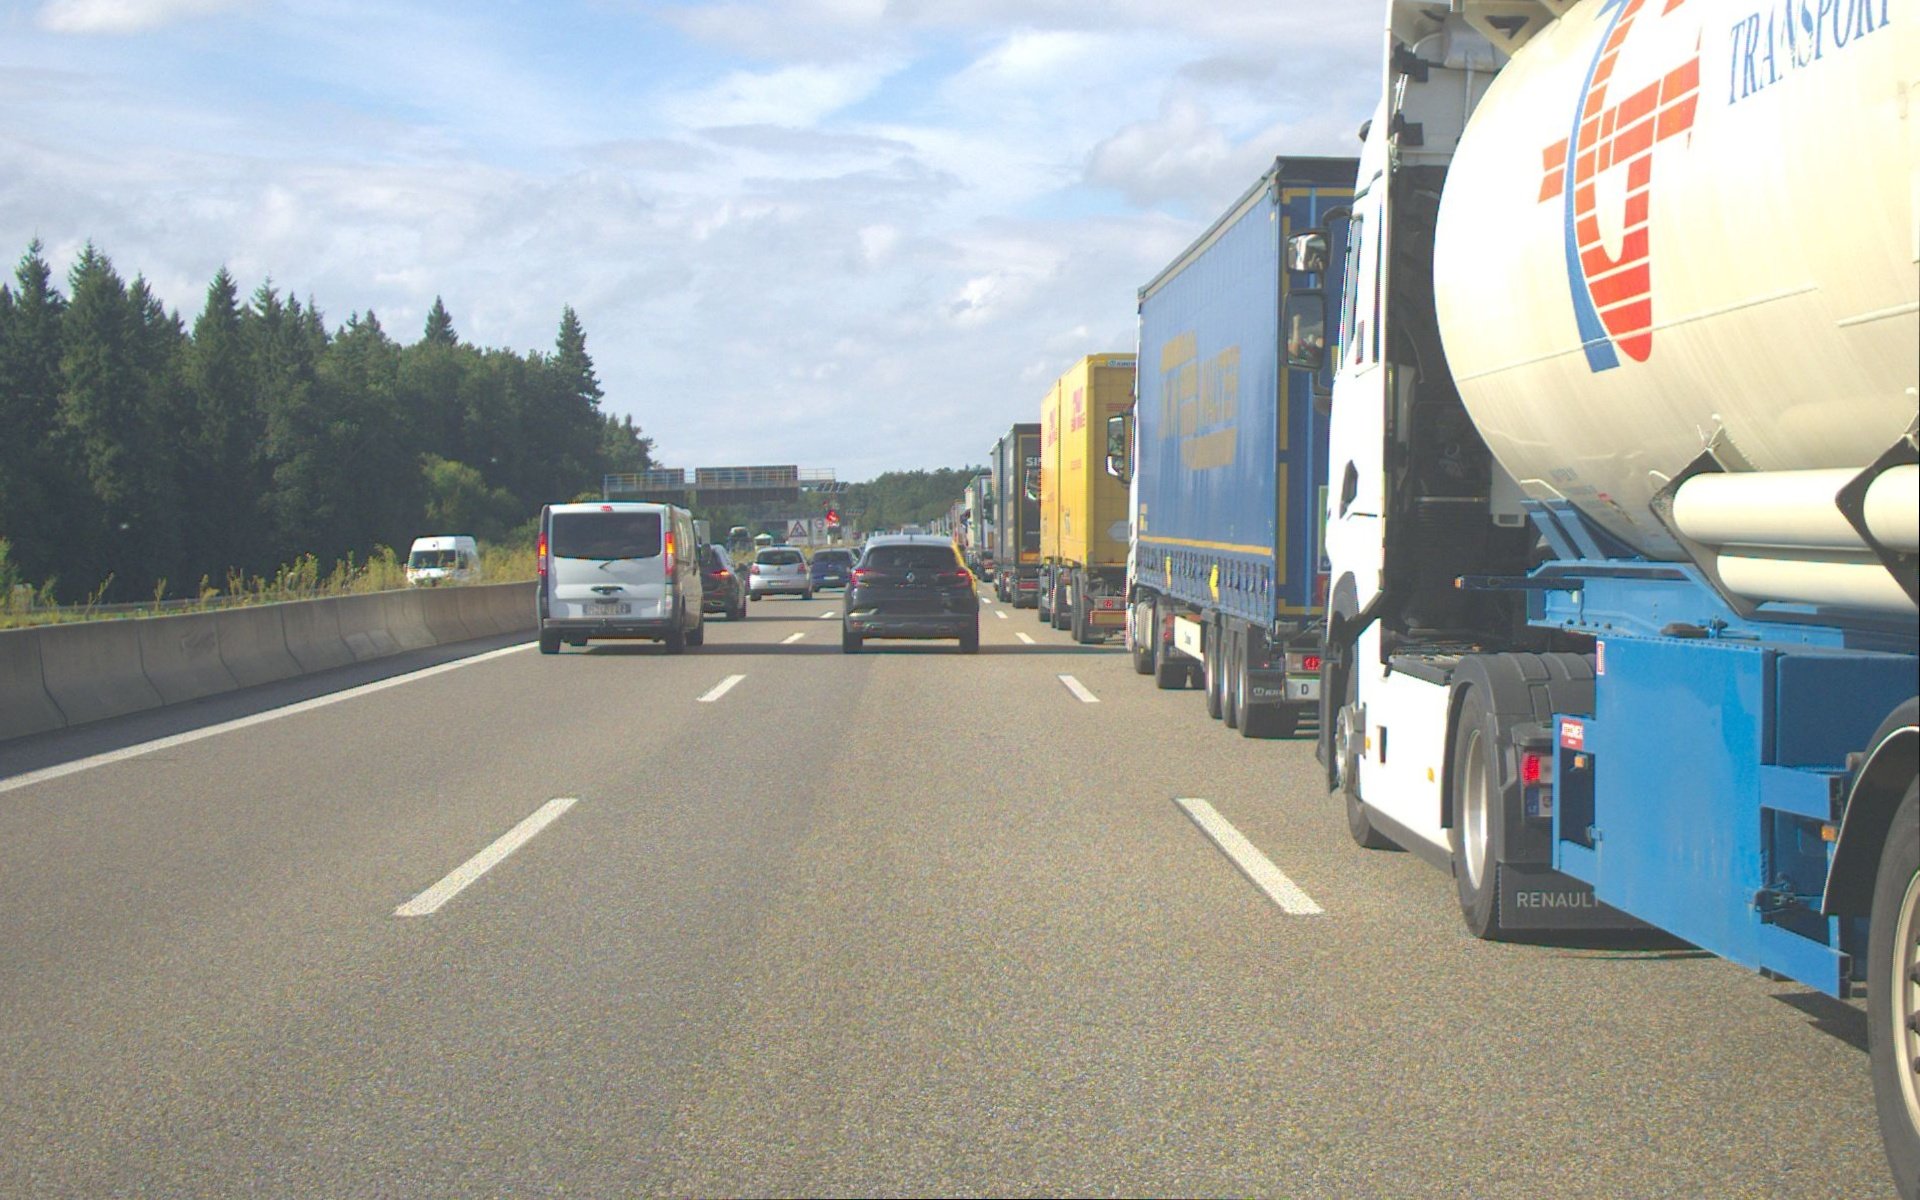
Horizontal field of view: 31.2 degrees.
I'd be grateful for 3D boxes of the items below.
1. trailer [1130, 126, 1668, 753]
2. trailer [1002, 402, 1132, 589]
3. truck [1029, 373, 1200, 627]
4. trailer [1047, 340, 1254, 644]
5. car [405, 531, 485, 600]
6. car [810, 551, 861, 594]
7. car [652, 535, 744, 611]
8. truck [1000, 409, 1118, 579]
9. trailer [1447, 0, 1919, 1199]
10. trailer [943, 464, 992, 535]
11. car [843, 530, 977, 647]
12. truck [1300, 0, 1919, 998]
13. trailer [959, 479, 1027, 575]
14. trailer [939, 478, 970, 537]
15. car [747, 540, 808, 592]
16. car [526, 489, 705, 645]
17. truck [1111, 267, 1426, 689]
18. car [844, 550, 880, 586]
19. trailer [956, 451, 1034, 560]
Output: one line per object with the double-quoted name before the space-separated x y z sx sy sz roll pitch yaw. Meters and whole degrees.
"trailer" 3.225 -1.143 29.541 2.642 4.084 13.981 1 1 -1
"trailer" 2.349 -2.325 77.406 2.716 3.947 8.711 1 1 1
"truck" 2.578 -1.704 60.076 2.412 4.054 9.665 1 1 -1
"trailer" 2.675 -1.539 50.739 2.412 4.054 8.927 1 1 -1
"car" -19.723 -1.330 131.919 2.033 2.570 7.322 1 1 -1
"car" -4.126 -0.908 113.895 1.581 1.391 3.208 1 1 0
"car" -4.976 -0.531 65.656 1.500 1.391 3.476 1 1 0
"truck" 2.418 -2.586 86.890 2.741 4.024 10.203 1 1 1
"trailer" 3.220 -0.627 7.327 2.646 3.921 11.175 1 1 0
"trailer" 0.497 -6.364 220.114 2.802 4.229 11.057 -3 1 0
"car" -0.656 -0.180 45.986 1.696 1.478 4.160 1 1 0
"truck" 3.149 -0.723 14.484 2.649 3.911 6.942 1 1 0
"trailer" 1.446 -3.316 157.184 2.703 4.068 12.945 -3 1 0
"trailer" -0.403 -6.856 255.841 2.150 4.244 8.440 -2 1 0
"car" -4.985 -0.937 94.203 1.500 1.391 3.476 1 1 0
"car" -4.592 -0.458 46.510 1.933 1.972 5.099 1 1 0
"truck" 3.143 -1.228 36.714 2.648 4.075 6.492 1 1 -1
"car" -3.873 -1.263 135.912 1.361 1.391 3.085 1 1 0
"trailer" 1.270 -3.542 131.769 2.661 3.855 13.395 -2 1 0
